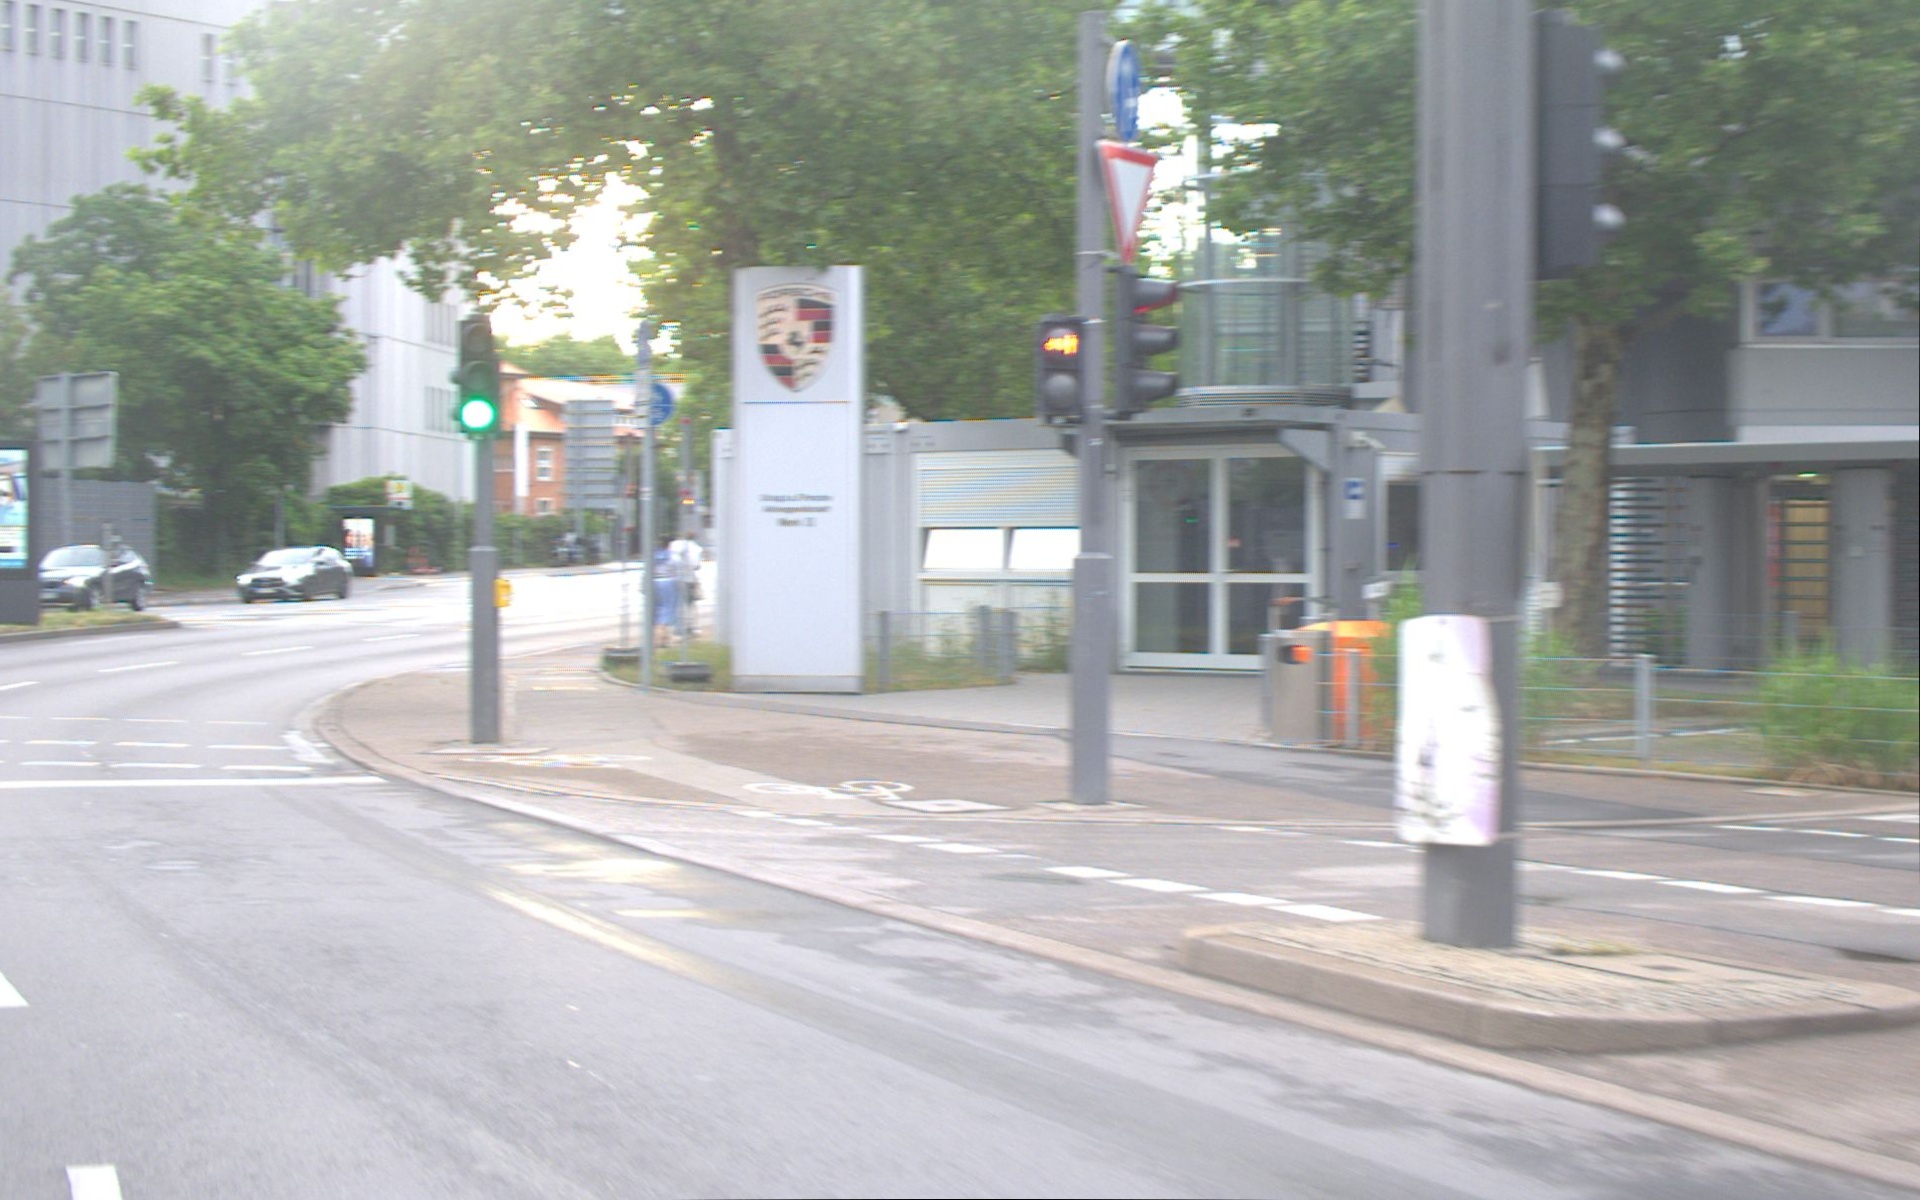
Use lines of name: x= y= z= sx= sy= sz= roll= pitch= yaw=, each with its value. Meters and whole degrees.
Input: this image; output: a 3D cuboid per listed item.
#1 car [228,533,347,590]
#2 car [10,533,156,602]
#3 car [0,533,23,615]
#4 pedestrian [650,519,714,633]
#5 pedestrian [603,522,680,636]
car: x=-17.497 y=-1.032 z=89.646 sx=1.783 sy=1.380 sz=4.545 roll=-2 pitch=1 yaw=5
car: x=-19.480 y=-0.744 z=76.578 sx=1.783 sy=1.449 sz=4.560 roll=-1 pitch=1 yaw=4
car: x=-17.843 y=-0.434 z=58.971 sx=1.783 sy=1.435 sz=4.394 roll=0 pitch=1 yaw=9
pedestrian: x=-3.894 y=-0.343 z=48.227 sx=0.709 sy=1.586 sz=0.840 roll=0 pitch=1 yaw=10
pedestrian: x=-4.256 y=-0.288 z=45.977 sx=0.832 sy=1.515 sz=0.841 roll=0 pitch=1 yaw=11
